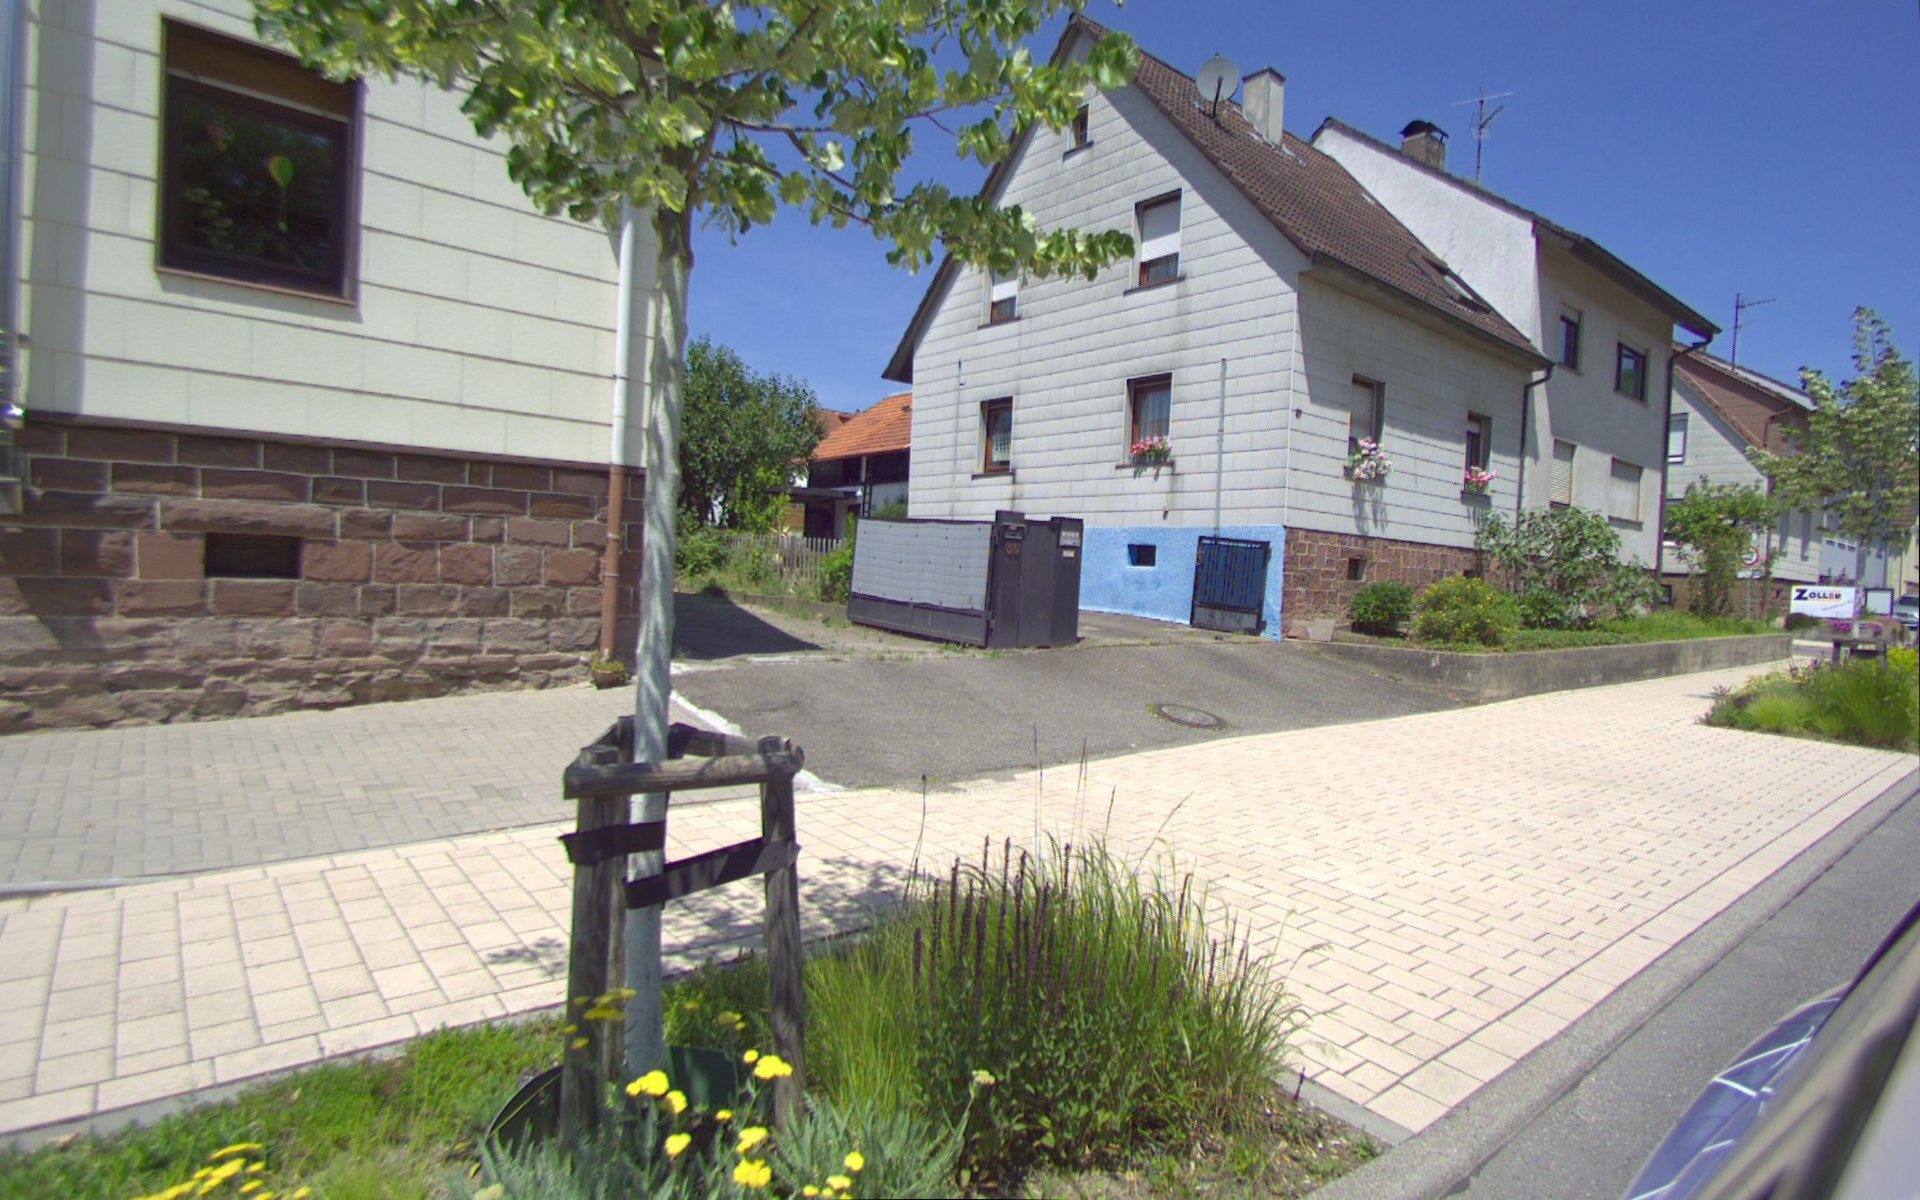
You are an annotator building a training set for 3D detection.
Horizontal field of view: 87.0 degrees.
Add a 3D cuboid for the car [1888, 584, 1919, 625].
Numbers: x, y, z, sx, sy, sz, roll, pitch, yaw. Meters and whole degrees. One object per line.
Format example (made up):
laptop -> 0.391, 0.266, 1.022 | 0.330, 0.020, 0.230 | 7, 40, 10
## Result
car -> 41.754, 0.190, 43.579 | 4.427, 1.640, 1.869 | -1, 6, -39
